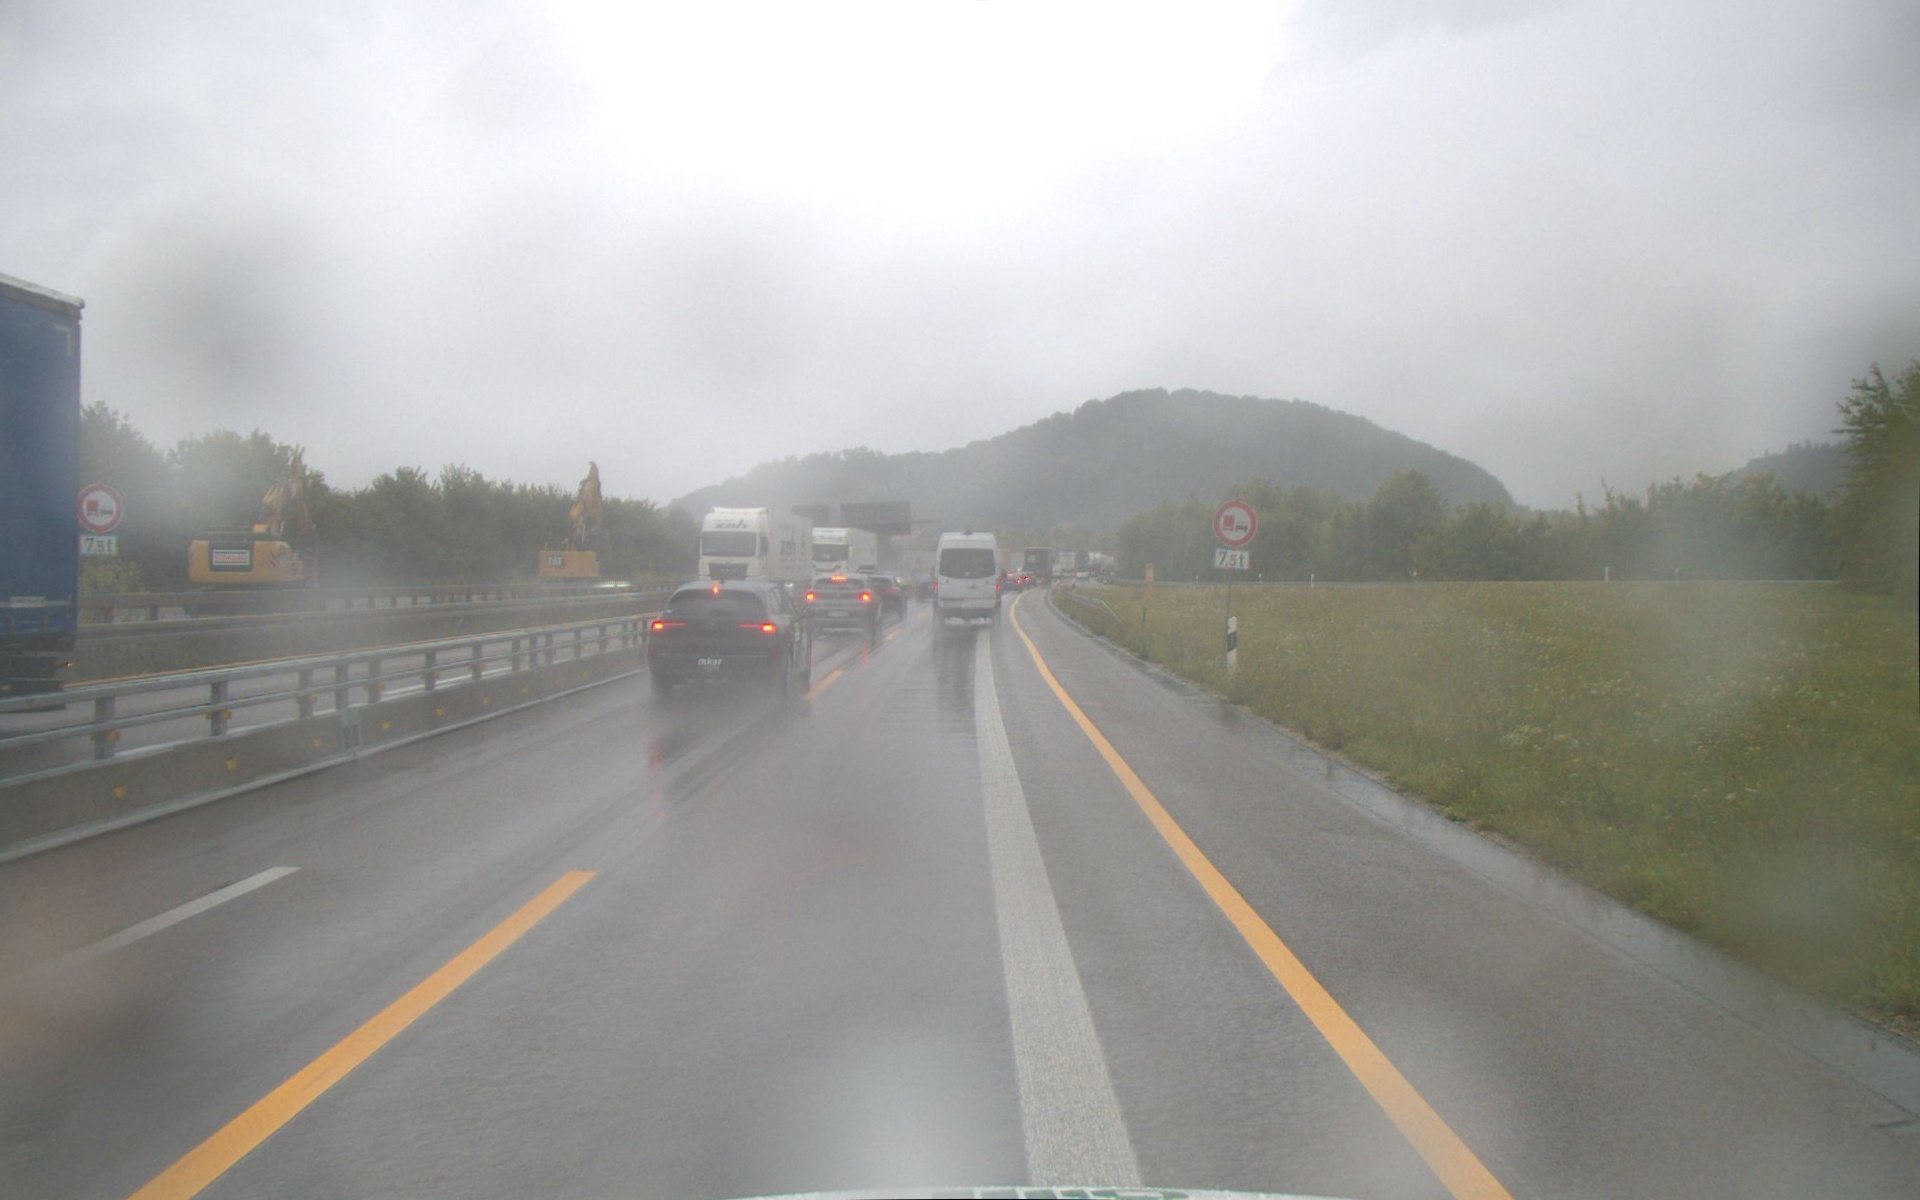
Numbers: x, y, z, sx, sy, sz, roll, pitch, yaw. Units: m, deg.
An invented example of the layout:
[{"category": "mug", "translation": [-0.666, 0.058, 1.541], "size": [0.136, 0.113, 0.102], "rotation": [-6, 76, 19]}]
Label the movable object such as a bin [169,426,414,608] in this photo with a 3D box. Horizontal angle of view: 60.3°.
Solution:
[{"category": "movable object such as a bin", "translation": [-24.326, -2.851, 61.175], "size": [4.084, 6.018, 11.048], "rotation": [1, 0, 2]}]

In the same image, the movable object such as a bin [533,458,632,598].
[{"category": "movable object such as a bin", "translation": [-23.336, -4.317, 102.798], "size": [3.521, 8.285, 8.312], "rotation": [1, 0, 4]}]

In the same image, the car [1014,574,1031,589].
[{"category": "car", "translation": [5.530, -1.672, 146.920], "size": [1.356, 1.278, 3.123], "rotation": [0, 1, 0]}]

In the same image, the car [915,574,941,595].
[{"category": "car", "translation": [-1.651, -0.816, 86.794], "size": [1.236, 1.097, 3.255], "rotation": [0, 1, 1]}]

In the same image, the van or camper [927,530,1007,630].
[{"category": "van or camper", "translation": [0.151, -0.588, 48.140], "size": [2.096, 2.768, 4.646], "rotation": [0, 1, -2]}]

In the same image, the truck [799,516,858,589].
[{"category": "truck", "translation": [-7.730, -2.792, 97.928], "size": [2.824, 4.173, 6.928], "rotation": [0, 1, 1]}]

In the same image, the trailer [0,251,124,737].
[{"category": "trailer", "translation": [-9.475, -0.871, 9.945], "size": [2.546, 4.149, 12.432], "rotation": [0, 0, 0]}]

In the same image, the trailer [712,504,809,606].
[{"category": "trailer", "translation": [-8.687, -2.012, 73.497], "size": [2.442, 4.119, 12.591], "rotation": [0, 2, 1]}]

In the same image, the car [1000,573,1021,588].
[{"category": "car", "translation": [3.768, -1.431, 124.030], "size": [1.356, 1.097, 3.121], "rotation": [0, 1, -2]}]

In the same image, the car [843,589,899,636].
[{"category": "car", "translation": [-3.026, 0.403, 56.762], "size": [1.815, 1.526, 3.999], "rotation": [0, 1, -2]}]

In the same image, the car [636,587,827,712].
[{"category": "car", "translation": [-2.923, 0.571, 22.161], "size": [1.899, 1.451, 4.760], "rotation": [1, 1, 0]}]

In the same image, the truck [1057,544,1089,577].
[{"category": "truck", "translation": [16.899, -5.937, 247.109], "size": [3.844, 4.867, 9.917], "rotation": [1, 2, 9]}]

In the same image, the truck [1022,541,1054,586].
[{"category": "truck", "translation": [8.802, -4.016, 186.147], "size": [3.251, 4.868, 9.912], "rotation": [1, 0, 4]}]

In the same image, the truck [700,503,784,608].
[{"category": "truck", "translation": [-8.836, -1.822, 67.717], "size": [2.432, 4.101, 6.450], "rotation": [1, 1, 1]}]

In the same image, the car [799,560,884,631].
[{"category": "car", "translation": [-2.931, -0.138, 41.681], "size": [1.829, 1.688, 3.988], "rotation": [0, 1, 0]}]
